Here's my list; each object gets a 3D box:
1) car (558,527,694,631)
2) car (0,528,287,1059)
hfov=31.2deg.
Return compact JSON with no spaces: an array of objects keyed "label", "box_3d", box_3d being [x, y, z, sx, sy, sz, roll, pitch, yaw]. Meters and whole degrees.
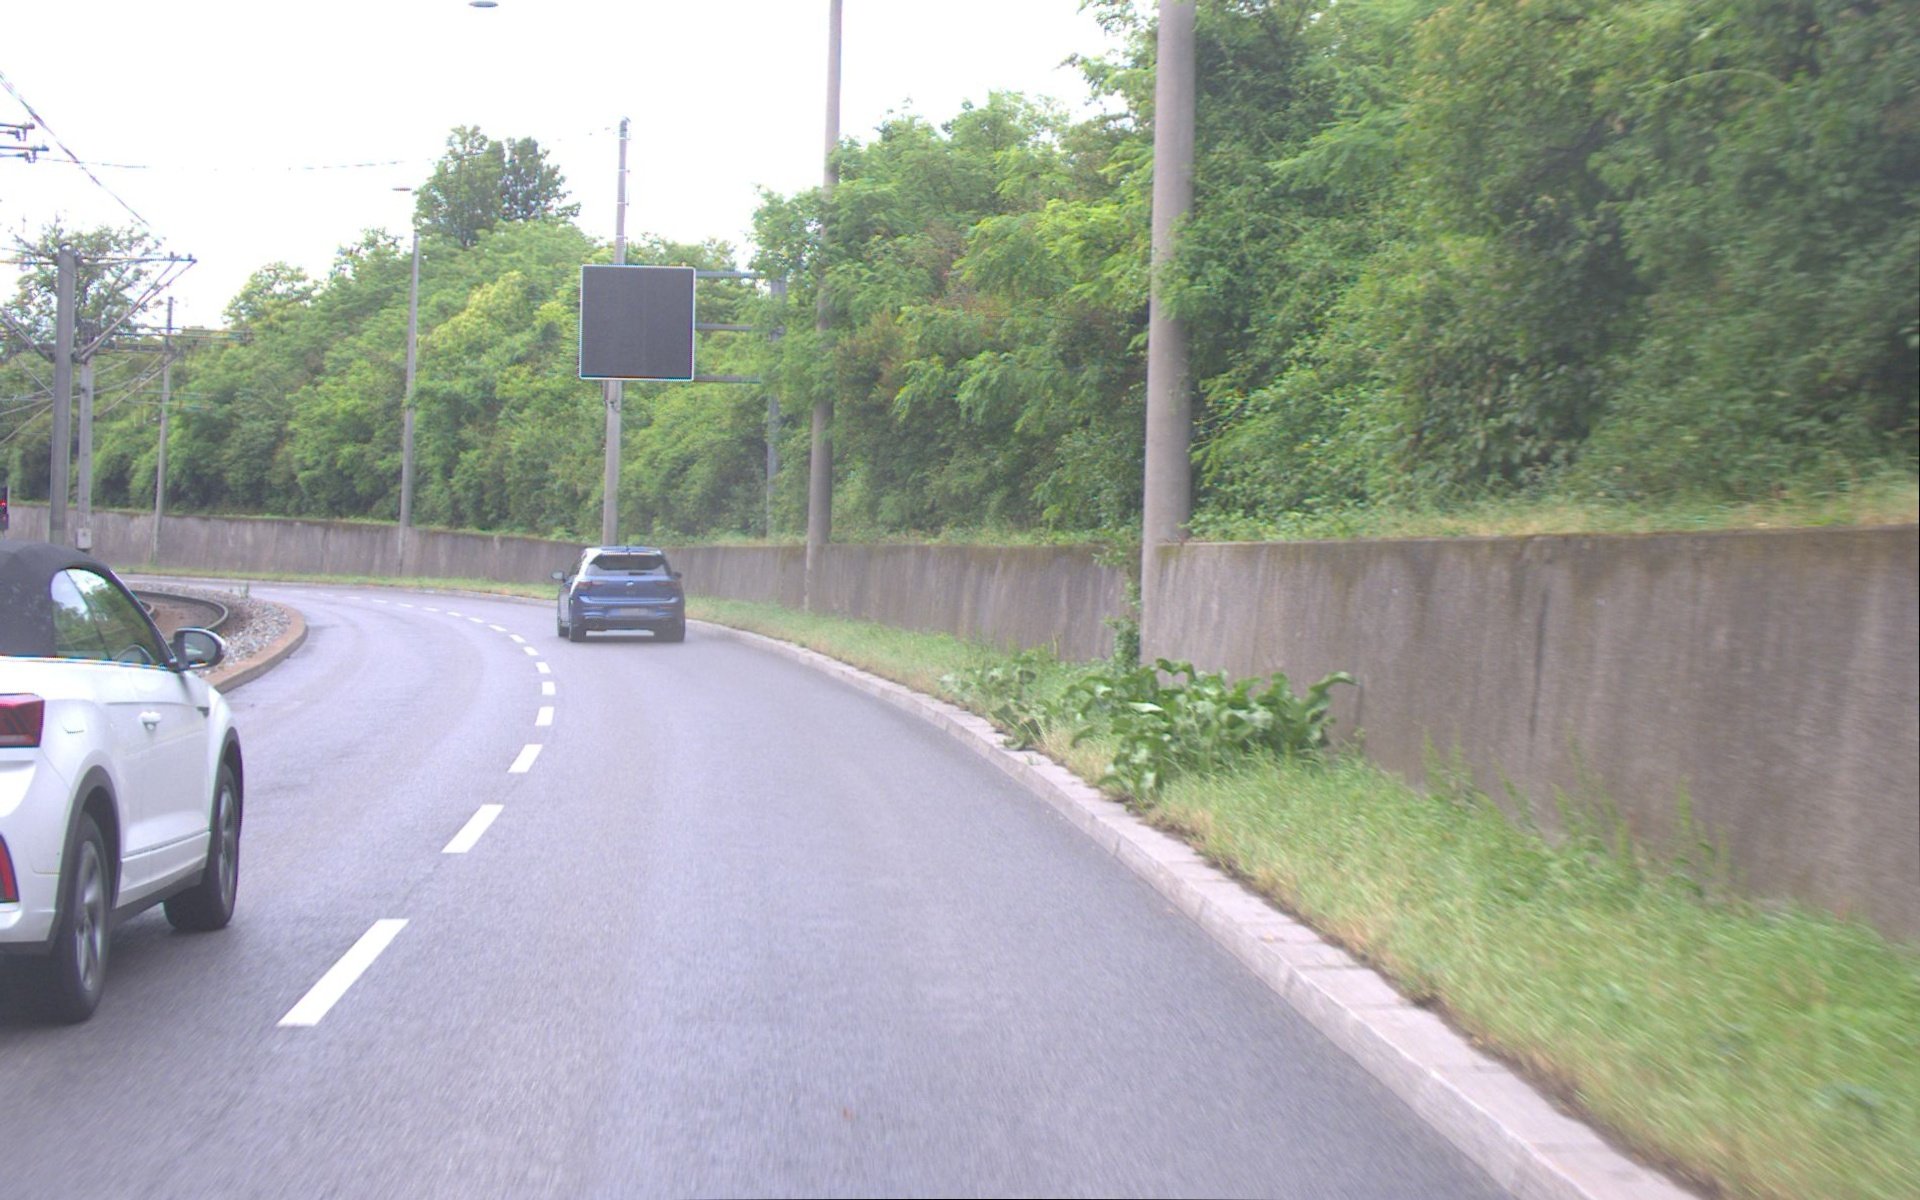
[{"label":"car","box_3d":[-5.244,-0.358,53.534,1.763,1.496,4.001,2,1,-10]},{"label":"car","box_3d":[-3.659,0.512,12.061,1.871,1.519,4.541,0,1,-2]}]
